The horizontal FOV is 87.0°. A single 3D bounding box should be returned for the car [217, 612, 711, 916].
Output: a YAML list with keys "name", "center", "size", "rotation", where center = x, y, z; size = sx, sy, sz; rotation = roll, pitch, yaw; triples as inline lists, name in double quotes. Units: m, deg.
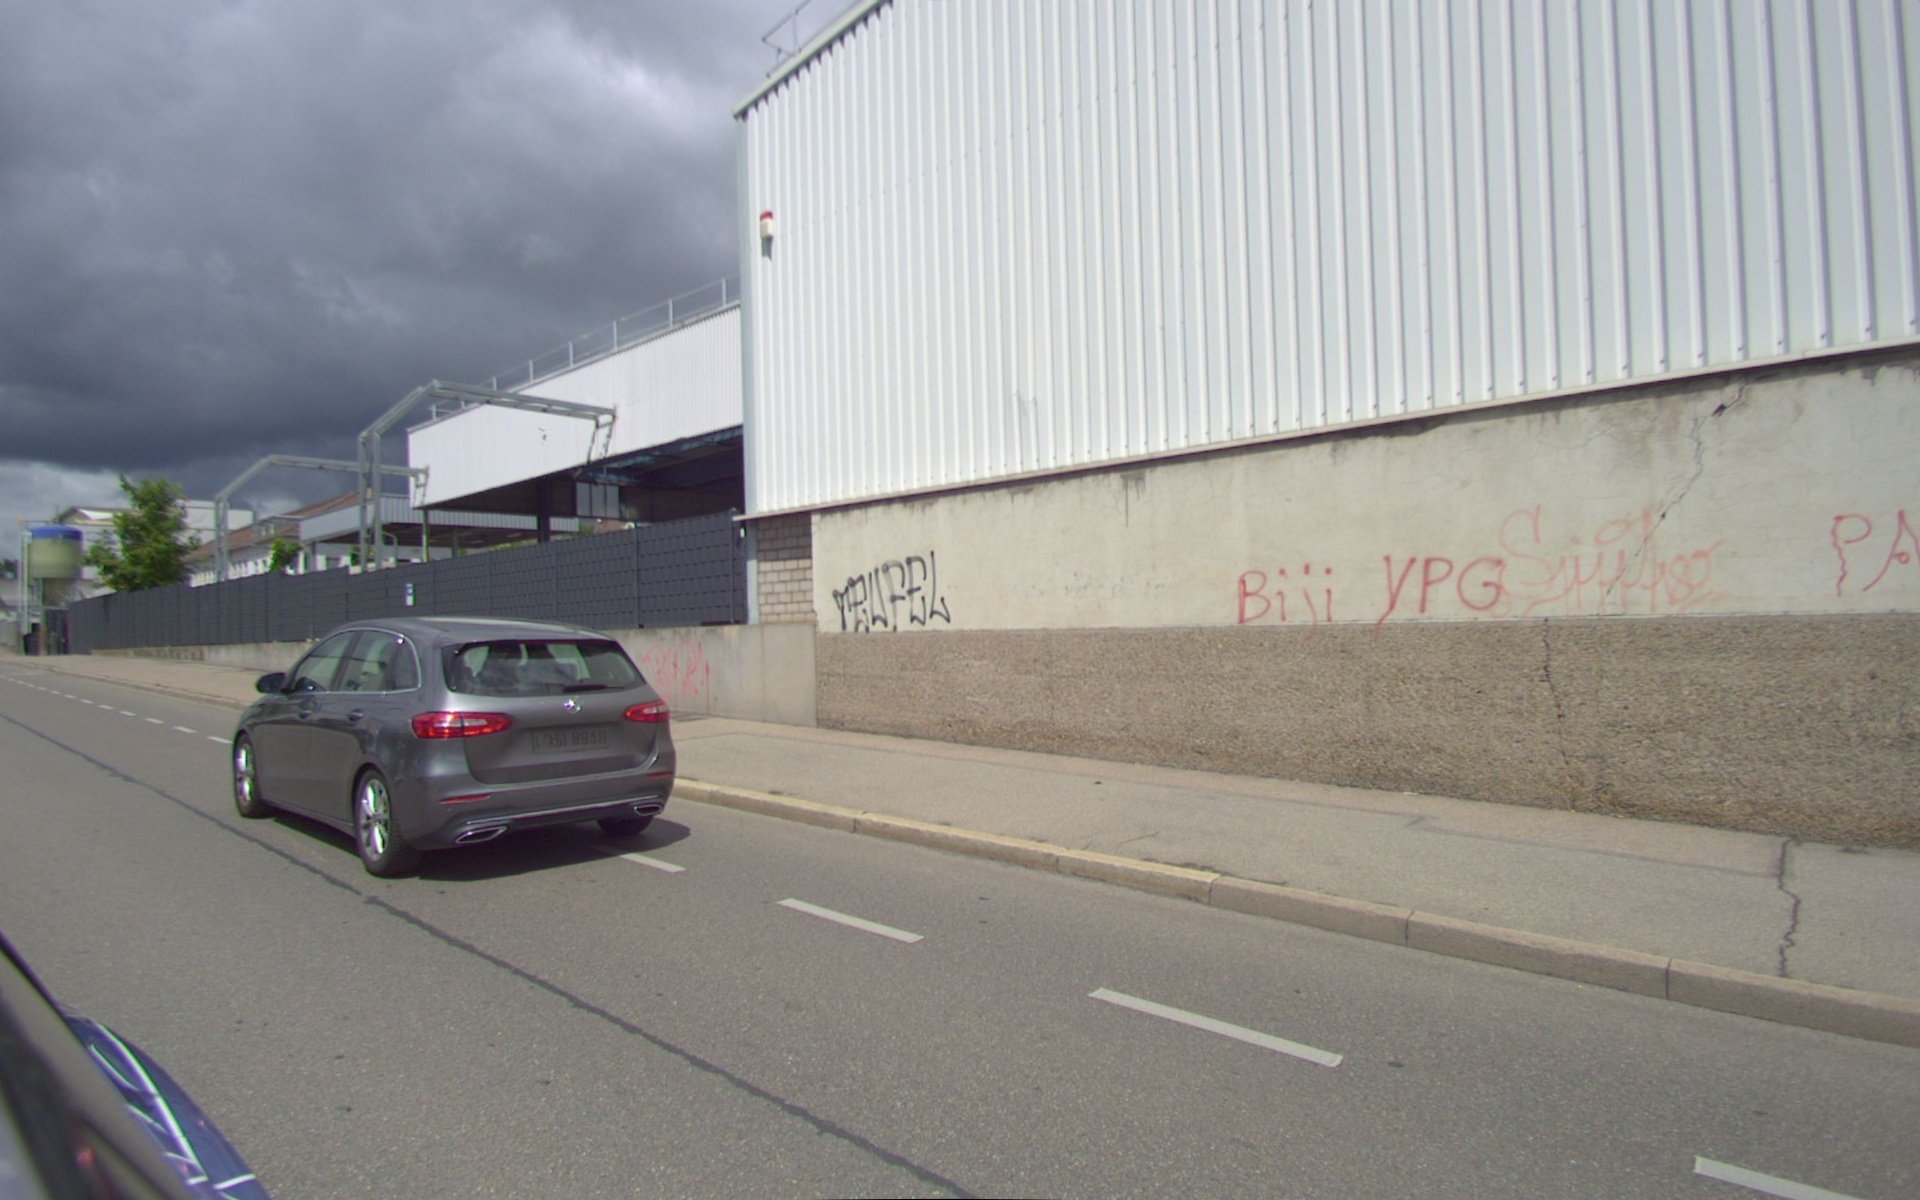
- name: "car"
  center: [-3.791, 0.887, 7.359]
  size: [4.286, 1.567, 1.701]
  rotation: [0, -1, 41]

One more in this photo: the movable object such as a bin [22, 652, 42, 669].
- name: "movable object such as a bin"
  center: [-57.294, 3.739, 62.504]
  size: [0.862, 1.058, 0.741]
  rotation: [3, -5, -44]

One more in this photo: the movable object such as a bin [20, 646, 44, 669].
- name: "movable object such as a bin"
  center: [-57.982, 3.600, 63.206]
  size: [1.215, 1.404, 0.980]
  rotation: [-3, -5, 43]
